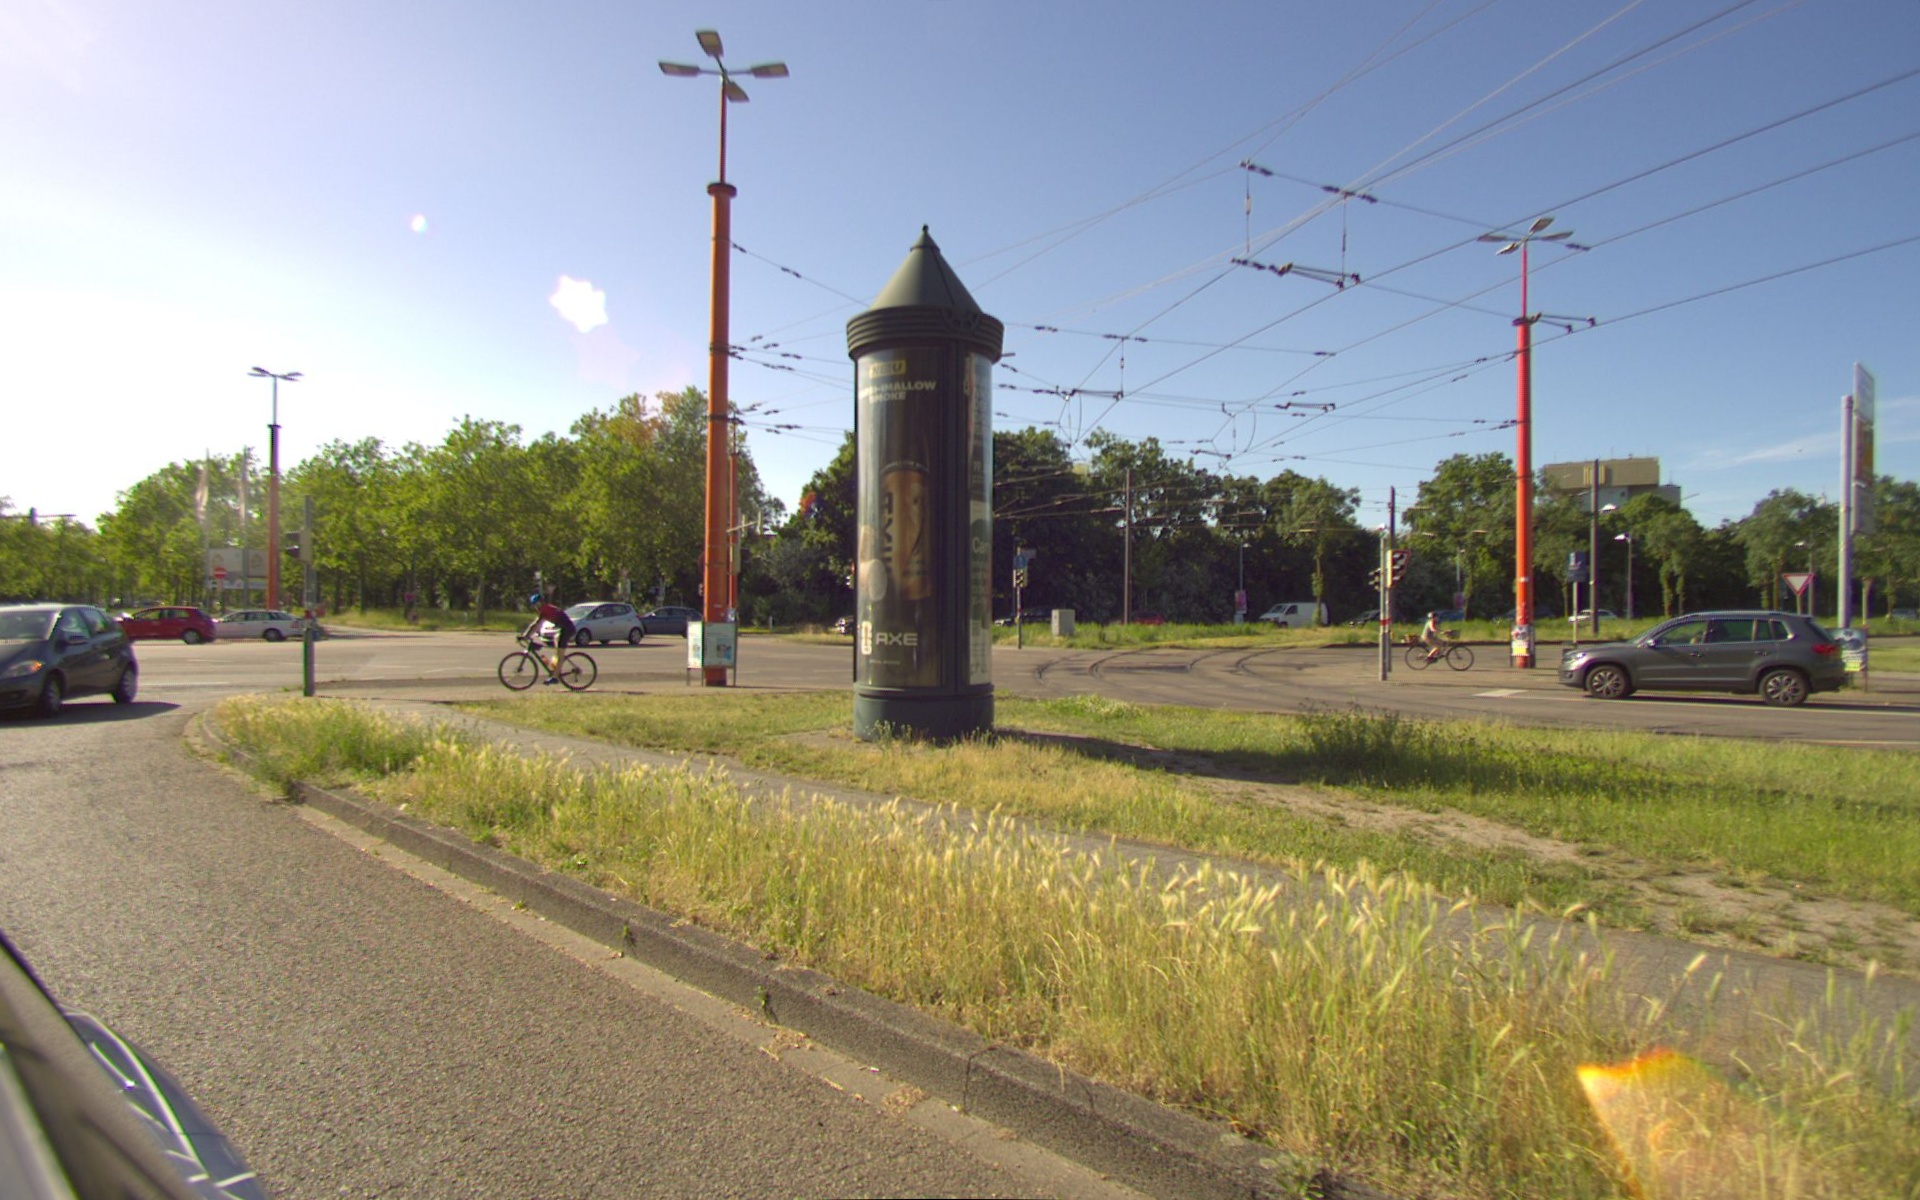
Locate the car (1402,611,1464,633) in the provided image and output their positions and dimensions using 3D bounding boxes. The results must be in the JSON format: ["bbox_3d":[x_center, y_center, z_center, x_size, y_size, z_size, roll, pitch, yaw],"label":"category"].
[{"bbox_3d":[33.743,1.569,72.179,3.930,1.522,1.806,0,-1,-23],"label":"car"}]

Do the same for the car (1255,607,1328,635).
[{"bbox_3d":[21.965,1.386,67.069,4.478,1.849,1.806,0,-1,-23],"label":"car"}]

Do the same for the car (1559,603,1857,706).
[{"bbox_3d":[13.678,0.926,18.694,4.265,1.691,1.775,-1,-1,41],"label":"car"}]

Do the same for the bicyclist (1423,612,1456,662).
[{"bbox_3d":[13.736,1.071,28.984,0.788,1.391,0.654,-2,-4,29],"label":"bicyclist"}]

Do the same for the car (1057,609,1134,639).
[{"bbox_3d":[7.690,1.338,57.655,3.931,1.667,1.806,0,-1,-18],"label":"car"}]

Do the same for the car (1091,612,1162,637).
[{"bbox_3d":[10.195,1.491,62.123,3.930,1.522,1.806,0,-1,-23],"label":"car"}]

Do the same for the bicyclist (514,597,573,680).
[{"bbox_3d":[-7.641,0.696,18.592,0.941,1.489,0.705,0,-1,-17],"label":"bicyclist"}]

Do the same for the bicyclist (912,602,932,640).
[{"bbox_3d":[-1.671,0.919,44.921,0.715,1.664,0.554,-1,-1,43],"label":"bicyclist"}]

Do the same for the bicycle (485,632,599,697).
[{"bbox_3d":[-7.644,1.160,18.588,1.868,1.116,0.705,0,-1,-17],"label":"bicycle"}]

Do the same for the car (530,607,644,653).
[{"bbox_3d":[-13.767,1.089,37.590,1.697,1.600,3.868,-1,-2,28],"label":"car"}]

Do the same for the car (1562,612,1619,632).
[{"bbox_3d":[48.541,1.665,77.926,3.930,1.522,1.806,0,-1,-23],"label":"car"}]

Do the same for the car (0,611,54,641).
[{"bbox_3d":[-50.300,1.388,54.602,1.771,1.522,4.008,0,-1,-38],"label":"car"}]

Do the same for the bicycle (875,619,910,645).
[{"bbox_3d":[-2.988,1.409,44.687,1.800,1.116,0.493,-1,-1,43],"label":"bicycle"}]

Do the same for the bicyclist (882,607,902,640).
[{"bbox_3d":[-2.992,1.020,44.696,0.778,1.458,0.493,-1,-1,43],"label":"bicyclist"}]

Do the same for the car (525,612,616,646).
[{"bbox_3d":[-17.883,1.326,46.504,3.720,1.522,1.619,0,-2,-27],"label":"car"}]

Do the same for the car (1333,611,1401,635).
[{"bbox_3d":[26.319,1.487,65.451,3.930,1.522,1.806,0,-1,-23],"label":"car"}]

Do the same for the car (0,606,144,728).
[{"bbox_3d":[-13.930,0.915,14.955,1.769,1.602,3.775,0,-1,-20],"label":"car"}]

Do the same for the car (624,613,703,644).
[{"bbox_3d":[-15.105,1.427,51.547,3.720,1.518,1.619,0,-1,-23],"label":"car"}]

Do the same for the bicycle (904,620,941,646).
[{"bbox_3d":[-1.671,1.448,44.914,1.800,1.116,0.554,-1,-1,43],"label":"bicycle"}]

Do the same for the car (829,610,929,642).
[{"bbox_3d":[-3.958,1.252,49.755,4.547,1.522,1.795,0,-1,-29],"label":"car"}]

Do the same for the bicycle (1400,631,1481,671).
[{"bbox_3d":[13.744,1.464,28.955,2.036,1.116,0.654,-2,-4,30],"label":"bicycle"}]

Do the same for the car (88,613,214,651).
[{"bbox_3d":[-32.087,1.253,40.249,3.608,1.470,1.595,0,-1,-24],"label":"car"}]

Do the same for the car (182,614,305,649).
[{"bbox_3d":[-31.674,1.371,44.894,4.173,1.522,1.806,0,-1,-24],"label":"car"}]
